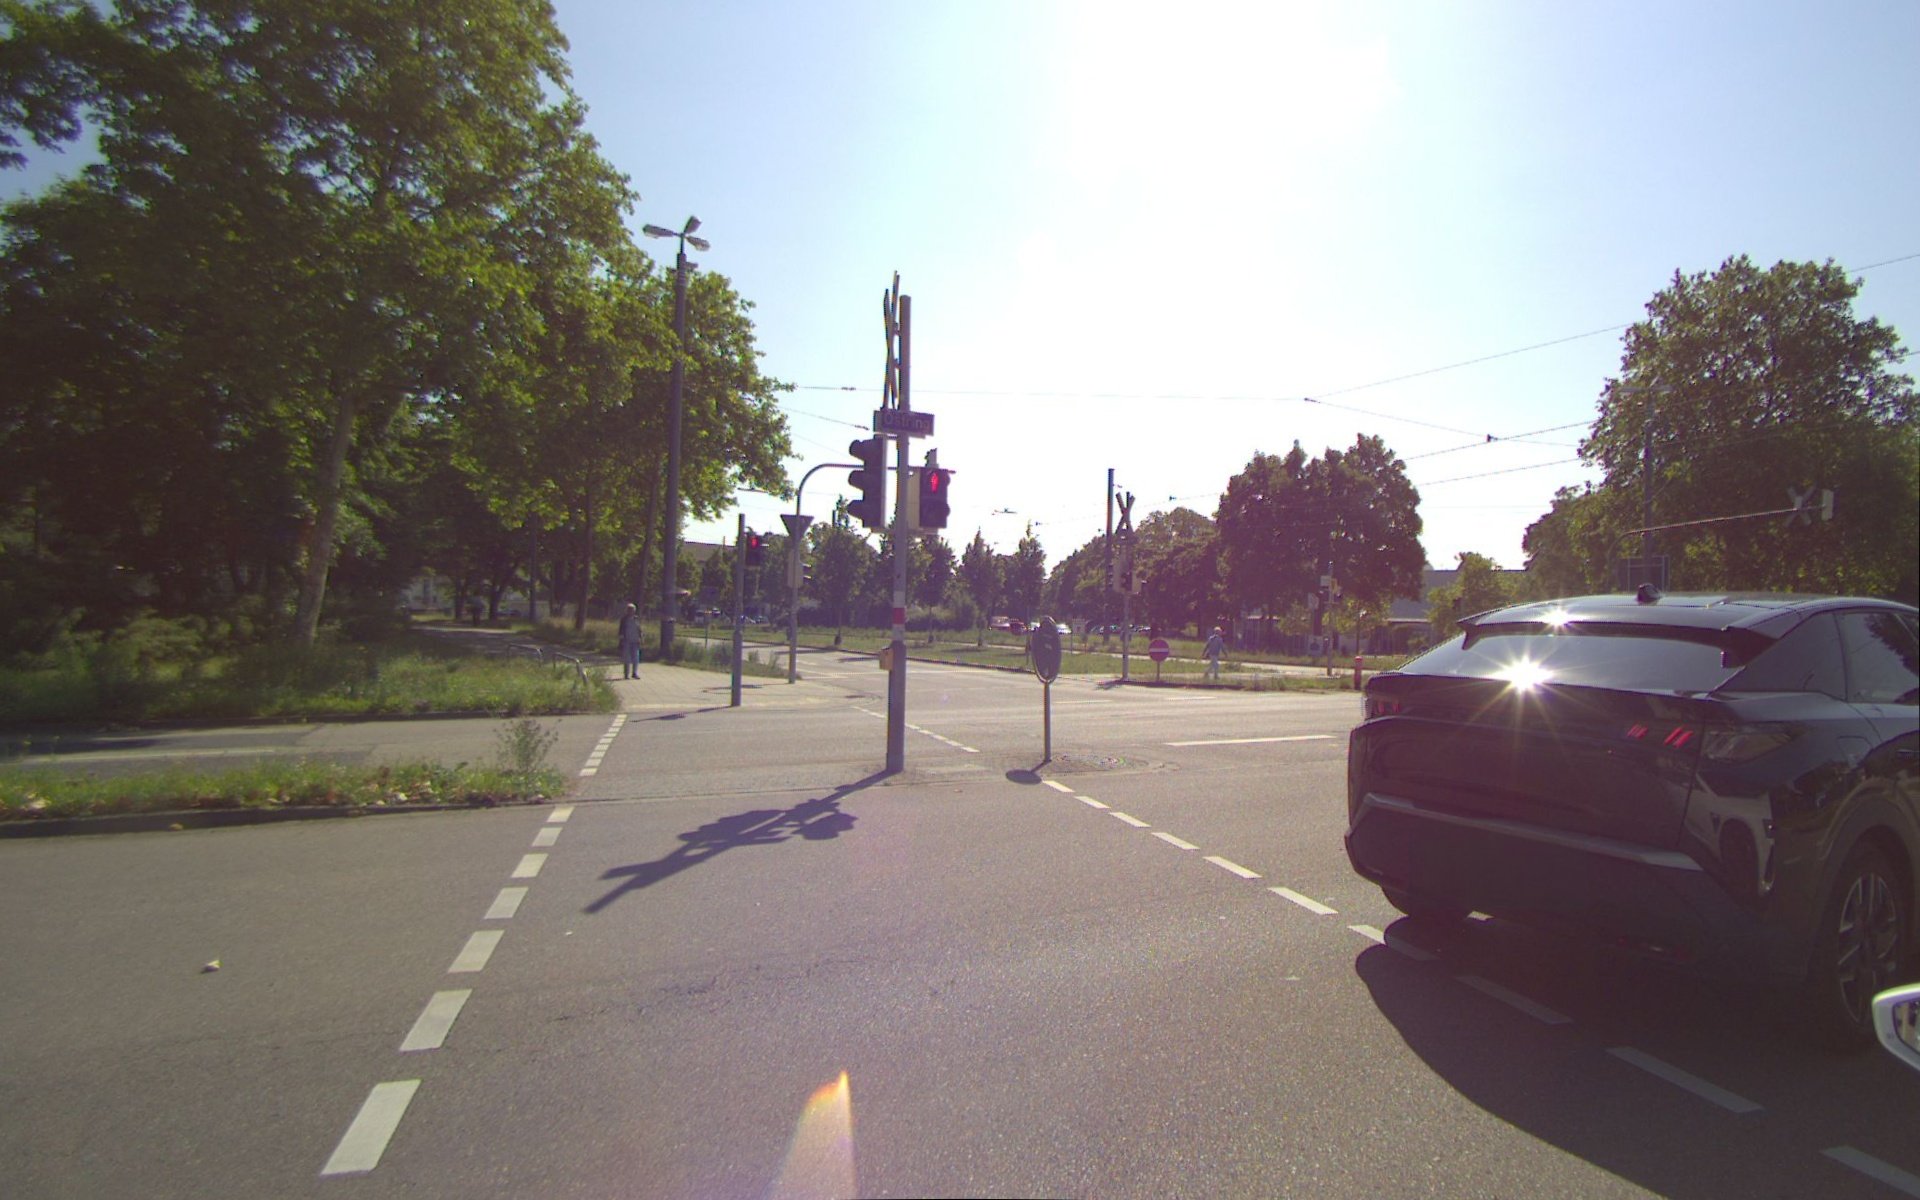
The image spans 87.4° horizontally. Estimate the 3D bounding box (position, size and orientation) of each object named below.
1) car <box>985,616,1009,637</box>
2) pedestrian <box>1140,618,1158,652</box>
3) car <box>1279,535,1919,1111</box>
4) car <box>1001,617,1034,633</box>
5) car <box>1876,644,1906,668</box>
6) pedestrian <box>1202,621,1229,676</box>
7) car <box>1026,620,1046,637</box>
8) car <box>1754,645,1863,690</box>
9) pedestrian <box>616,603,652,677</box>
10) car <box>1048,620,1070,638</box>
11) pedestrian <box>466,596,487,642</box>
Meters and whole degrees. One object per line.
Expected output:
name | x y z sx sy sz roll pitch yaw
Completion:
car | 3.253 2.319 88.748 1.780 1.725 3.986 2 -1 -2
pedestrian | 11.231 2.077 59.718 0.784 2.040 0.708 0 -1 42
car | 3.847 0.735 4.891 4.381 1.719 1.864 2 -1 -29
car | 7.196 3.204 126.870 3.856 1.863 1.768 2 -1 -8
car | 109.653 6.577 118.353 2.035 2.647 7.188 -1 -3 38
pedestrian | 7.435 1.399 29.277 0.656 1.581 0.366 1 -1 -3
car | 6.665 2.477 87.974 1.323 1.465 3.340 2 -1 -2
car | 31.332 2.456 37.065 4.607 1.528 1.685 2 -2 -31
pedestrian | -6.973 0.843 21.479 0.563 1.554 0.601 2 -1 -34
car | 8.667 2.549 88.014 1.420 1.465 3.340 2 -1 -2
pedestrian | -22.679 0.896 47.138 0.748 2.118 0.612 2 -1 -36
